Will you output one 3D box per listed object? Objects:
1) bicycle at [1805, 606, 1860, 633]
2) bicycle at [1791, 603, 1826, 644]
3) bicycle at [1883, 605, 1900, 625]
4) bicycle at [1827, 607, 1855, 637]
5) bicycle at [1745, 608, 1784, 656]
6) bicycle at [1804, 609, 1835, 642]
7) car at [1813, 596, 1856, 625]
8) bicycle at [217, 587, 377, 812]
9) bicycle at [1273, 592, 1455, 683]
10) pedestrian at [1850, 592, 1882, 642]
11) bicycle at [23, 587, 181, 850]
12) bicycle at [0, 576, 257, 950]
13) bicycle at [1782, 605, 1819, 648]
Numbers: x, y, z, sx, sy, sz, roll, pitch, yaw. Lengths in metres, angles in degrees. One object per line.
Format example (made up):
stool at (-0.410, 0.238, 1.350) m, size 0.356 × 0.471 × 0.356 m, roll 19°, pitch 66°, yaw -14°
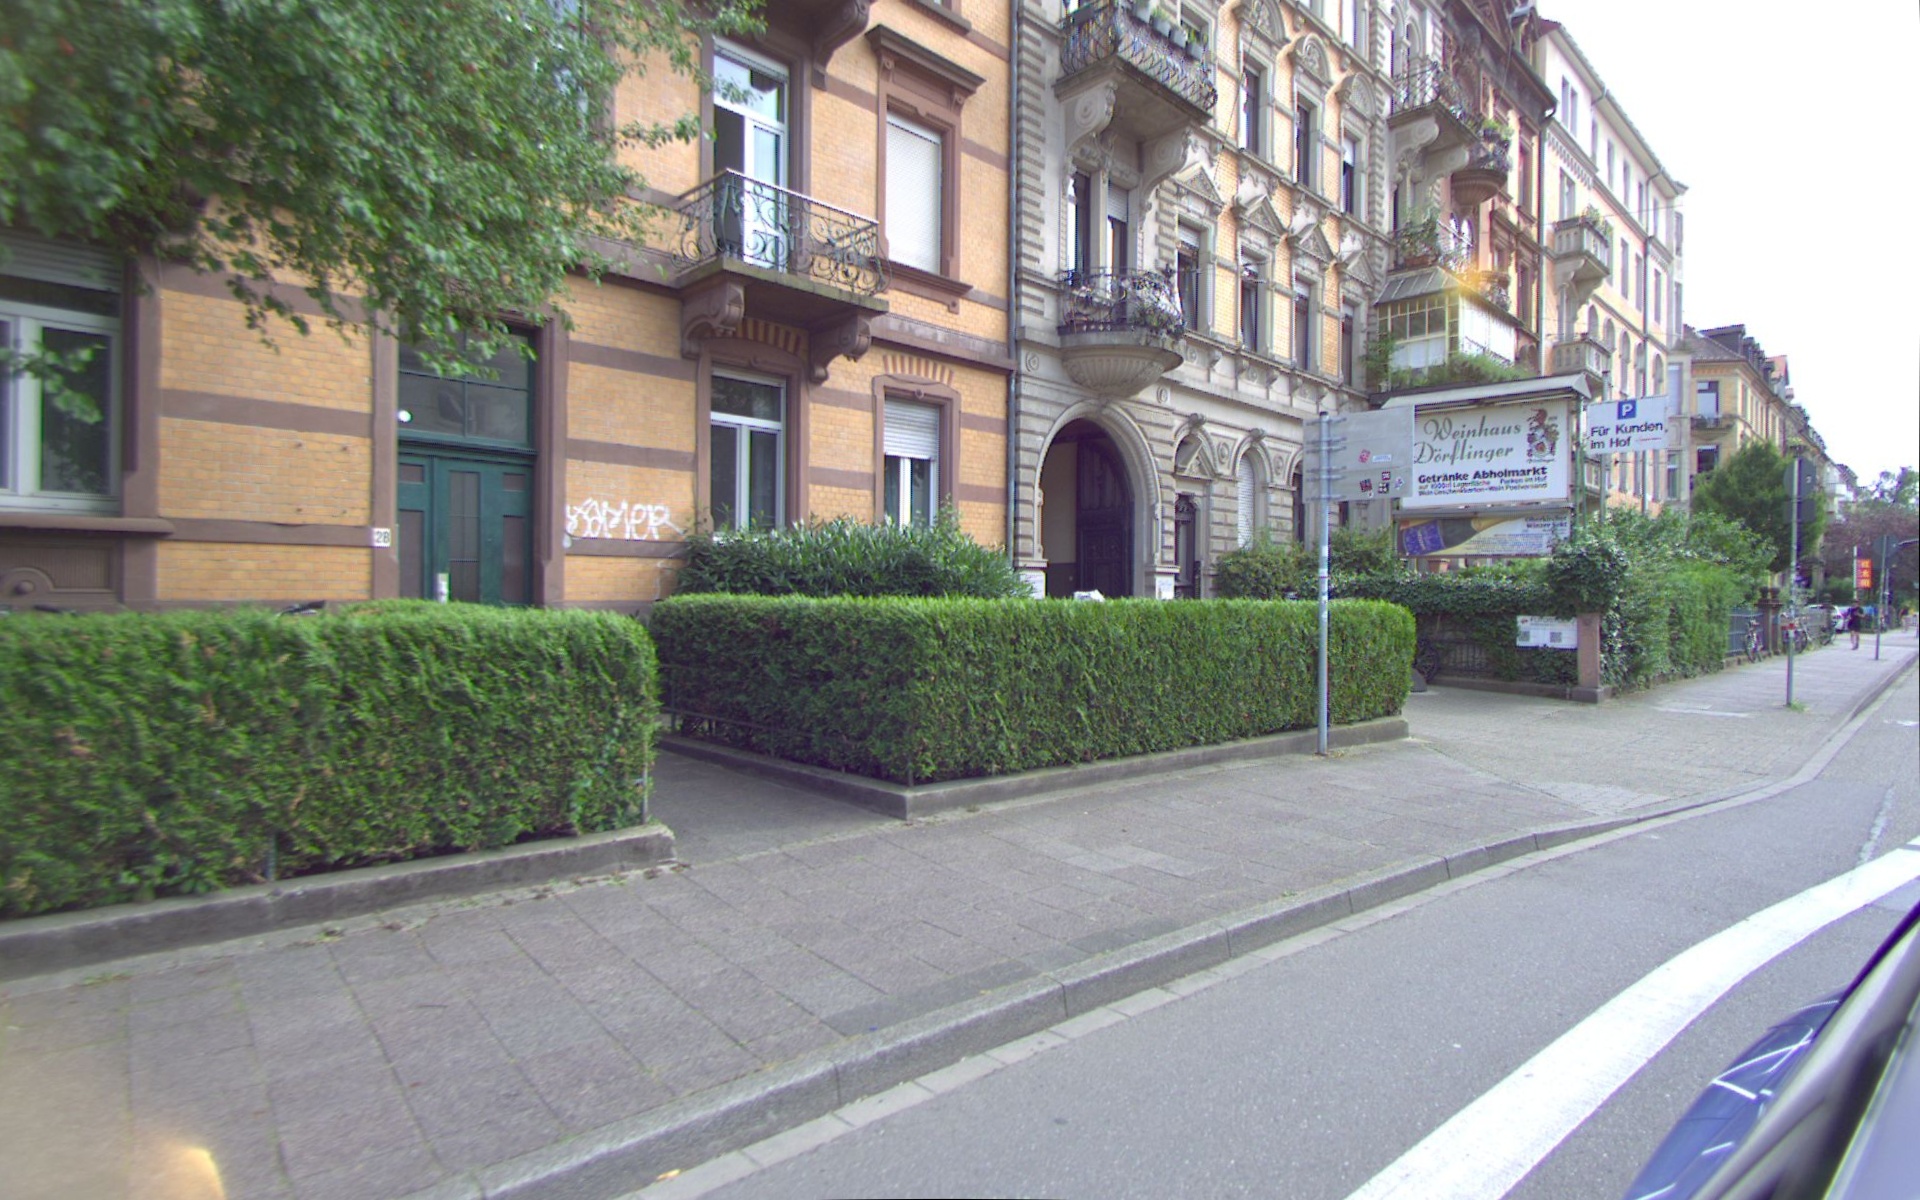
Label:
bicycle at (37.644, 0.827, 43.664) m, size 1.838 × 1.127 × 0.631 m, roll 1°, pitch 0°, yaw -1°
bicycle at (25.005, 0.680, 29.822) m, size 0.579 × 1.125 × 1.645 m, roll 6°, pitch 4°, yaw 44°
bicycle at (54.543, 0.865, 59.240) m, size 1.843 × 1.127 × 0.629 m, roll 0°, pitch 0°, yaw -43°
bicycle at (31.683, 0.791, 36.392) m, size 0.579 × 0.994 × 1.645 m, roll 6°, pitch 4°, yaw 44°
bicycle at (19.768, 0.767, 24.865) m, size 0.579 × 1.126 × 1.645 m, roll 1°, pitch 0°, yaw 45°
bicycle at (27.503, 0.798, 32.381) m, size 0.579 × 0.994 × 1.645 m, roll 6°, pitch 4°, yaw 44°
car at (49.026, 0.548, 56.770) m, size 1.749 × 1.544 × 3.942 m, roll 1°, pitch 1°, yaw 40°
bicycle at (-4.068, 0.528, 6.169) m, size 0.509 × 1.196 × 1.546 m, roll 1°, pitch 0°, yaw -45°
bicycle at (6.446, 0.557, 16.288) m, size 2.624 × 1.328 × 0.758 m, roll 1°, pitch 0°, yaw 44°
pedestrian at (30.121, 0.548, 33.659) m, size 0.821 × 1.644 × 0.731 m, roll 1°, pitch 0°, yaw -44°
bicycle at (-4.577, 0.535, 5.365) m, size 0.509 × 1.196 × 1.546 m, roll 1°, pitch 0°, yaw -45°
bicycle at (-3.517, 0.560, 3.679) m, size 1.523 × 1.298 × 0.517 m, roll 0°, pitch 0°, yaw -42°
bicycle at (23.630, 0.720, 28.450) m, size 0.579 × 1.125 × 1.645 m, roll 6°, pitch 4°, yaw 44°
